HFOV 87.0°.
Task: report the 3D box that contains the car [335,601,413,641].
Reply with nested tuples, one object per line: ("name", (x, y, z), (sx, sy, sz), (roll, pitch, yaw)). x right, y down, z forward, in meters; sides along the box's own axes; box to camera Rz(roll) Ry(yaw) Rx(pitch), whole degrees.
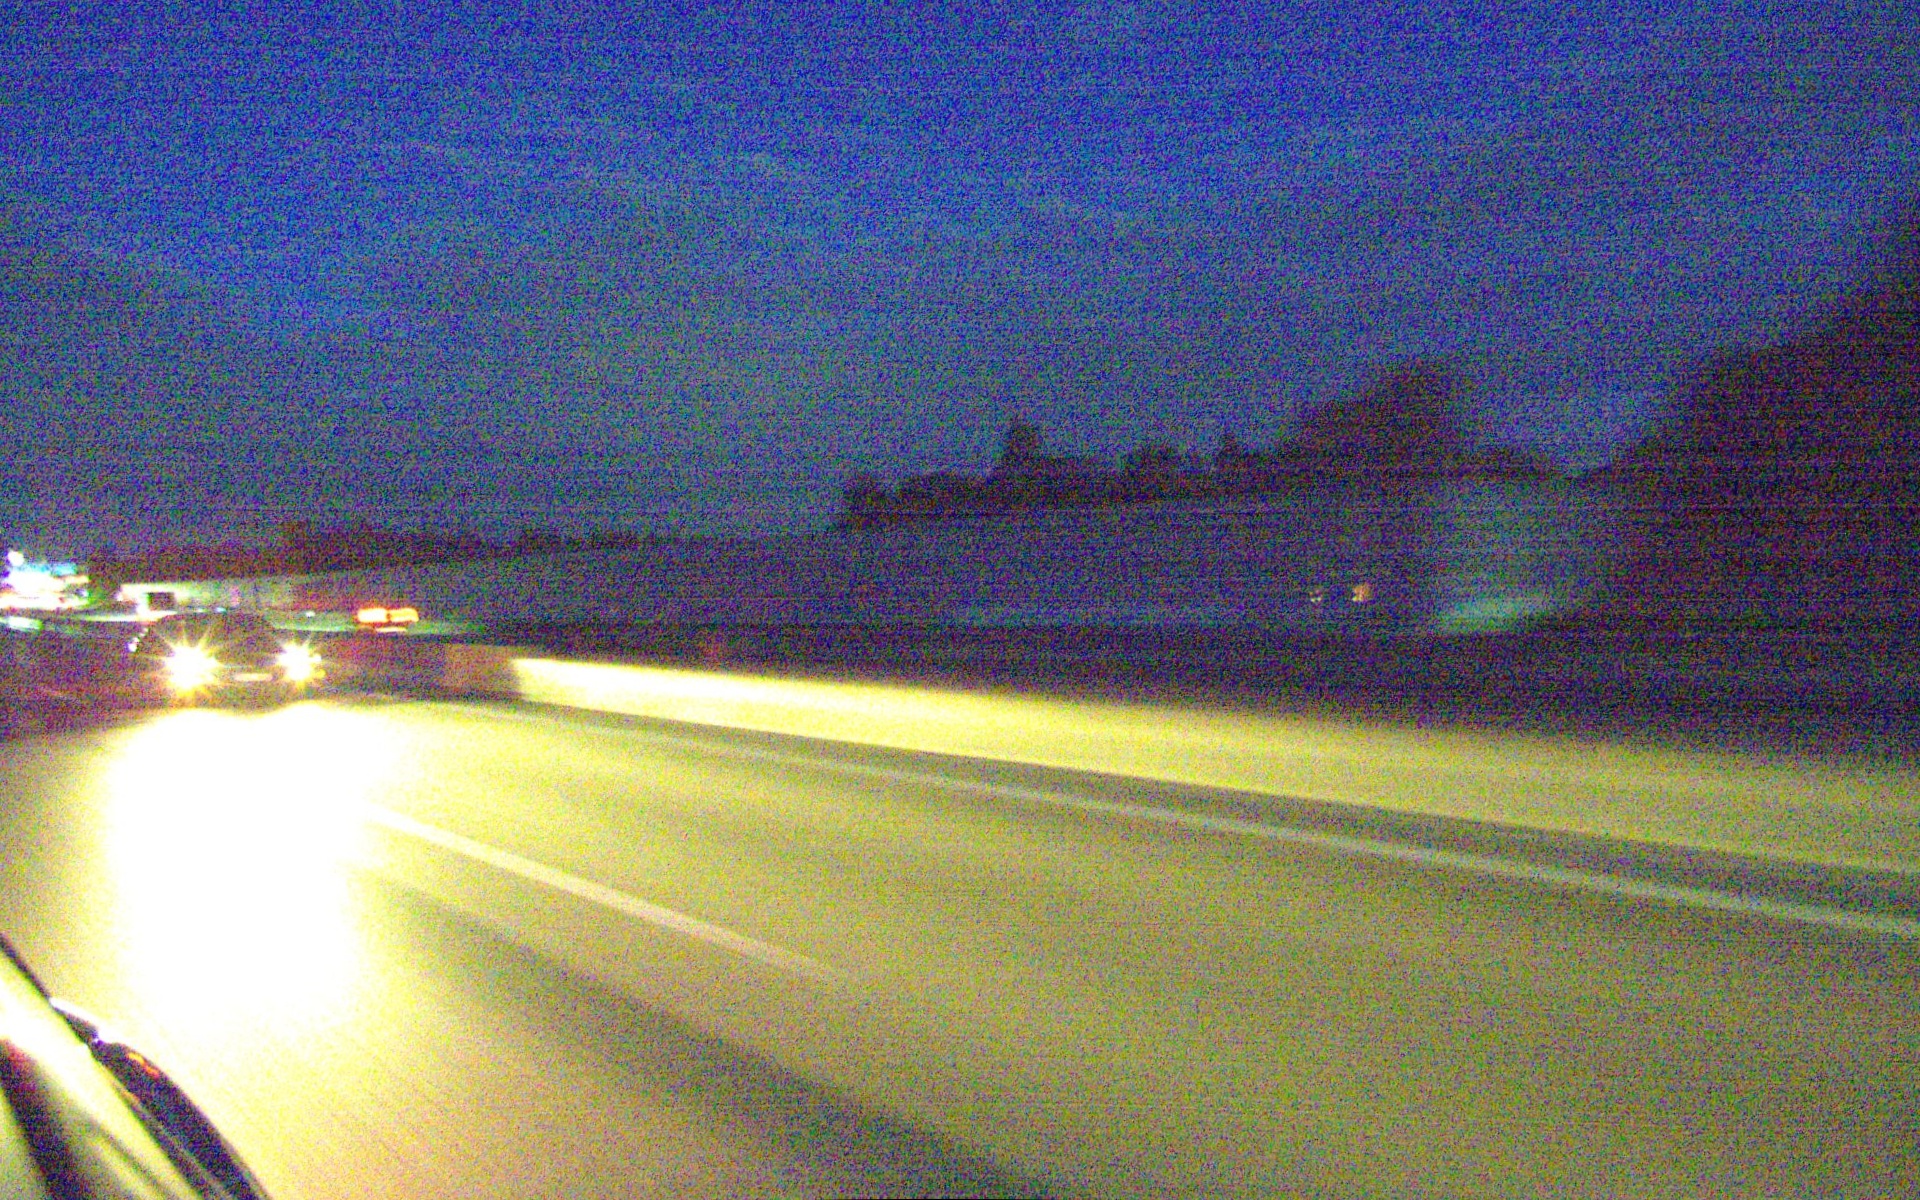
("car", (-27.275, 0.927, 47.066), (4.672, 1.707, 1.803), (1, 0, 42))

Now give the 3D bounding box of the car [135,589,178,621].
("car", (-83.638, 0.560, 105.286), (2.621, 3.109, 8.219), (0, -1, -45))

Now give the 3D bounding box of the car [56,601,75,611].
("car", (-157.626, 1.033, 178.290), (5.943, 1.795, 2.030), (0, 0, 44))

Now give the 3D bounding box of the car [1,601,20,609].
("car", (-184.691, 0.988, 196.822), (5.111, 1.567, 2.531), (0, 0, 44))

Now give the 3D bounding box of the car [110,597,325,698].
("car", (-13.275, 0.812, 17.932), (5.649, 1.530, 1.972), (-3, -2, 42))
